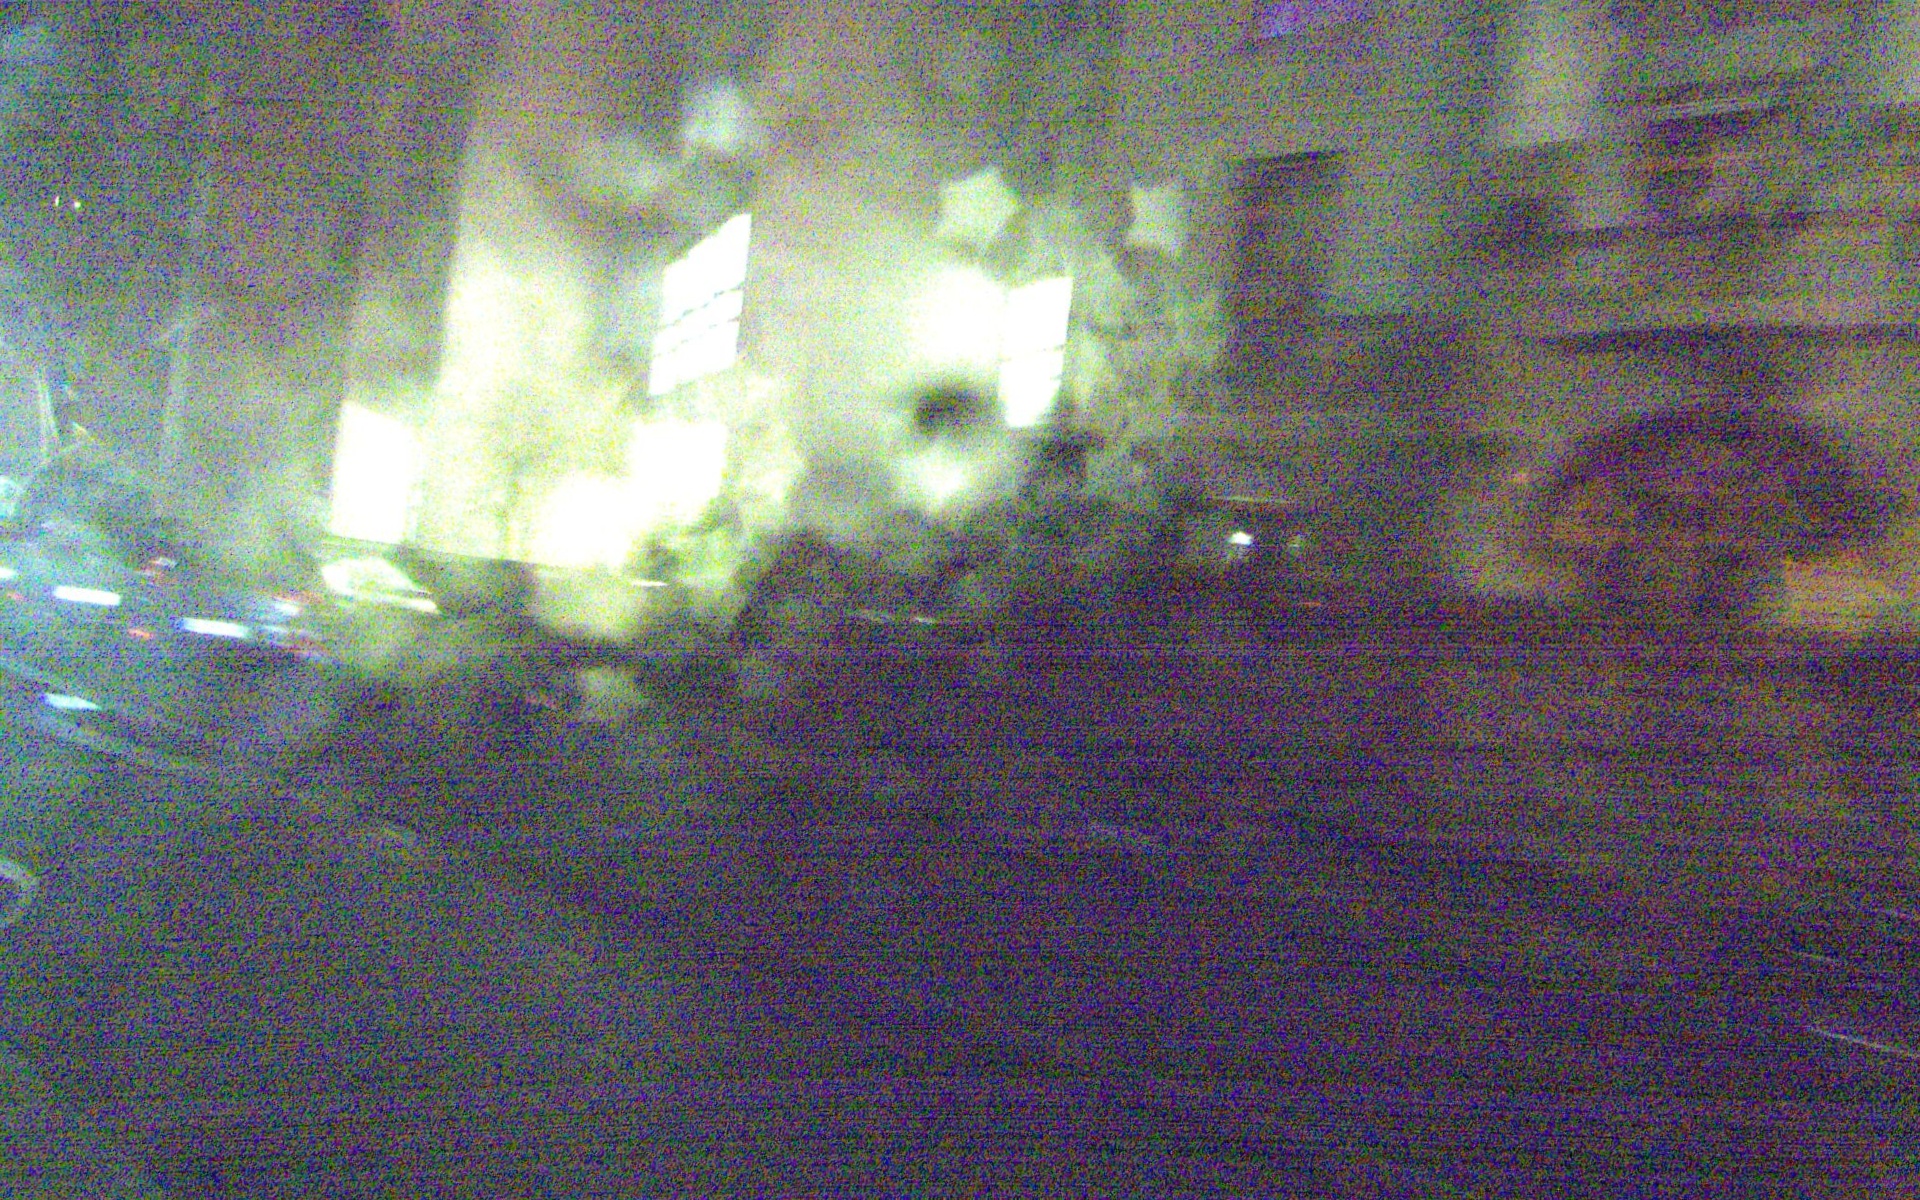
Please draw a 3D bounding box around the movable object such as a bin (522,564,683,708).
[{"bbox_3d":[-4.036,0.404,11.490,1.007,1.424,1.413,7,0,11],"label":"movable object such as a bin"}]

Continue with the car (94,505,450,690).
[{"bbox_3d":[-7.309,0.031,11.220,1.741,1.474,3.785,9,-3,-11],"label":"car"}]

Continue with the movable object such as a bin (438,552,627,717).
[{"bbox_3d":[-4.230,0.349,10.075,1.007,1.424,1.353,7,0,11],"label":"movable object such as a bin"}]

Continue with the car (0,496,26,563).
[{"bbox_3d":[-21.283,-1.666,20.349,1.602,1.401,3.338,8,-2,-3],"label":"car"}]

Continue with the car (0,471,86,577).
[{"bbox_3d":[-18.776,-1.597,18.553,1.931,1.859,4.170,9,-3,-10],"label":"car"}]

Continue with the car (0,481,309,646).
[{"bbox_3d":[-9.799,-0.400,12.412,1.780,1.506,3.843,8,-1,-16],"label":"car"}]

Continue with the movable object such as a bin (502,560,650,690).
[{"bbox_3d":[-4.841,0.312,12.682,1.396,1.424,1.023,7,0,37],"label":"movable object such as a bin"}]

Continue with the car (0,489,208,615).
[{"bbox_3d":[-12.445,-0.636,14.016,1.575,1.454,3.828,9,-3,-13],"label":"car"}]
